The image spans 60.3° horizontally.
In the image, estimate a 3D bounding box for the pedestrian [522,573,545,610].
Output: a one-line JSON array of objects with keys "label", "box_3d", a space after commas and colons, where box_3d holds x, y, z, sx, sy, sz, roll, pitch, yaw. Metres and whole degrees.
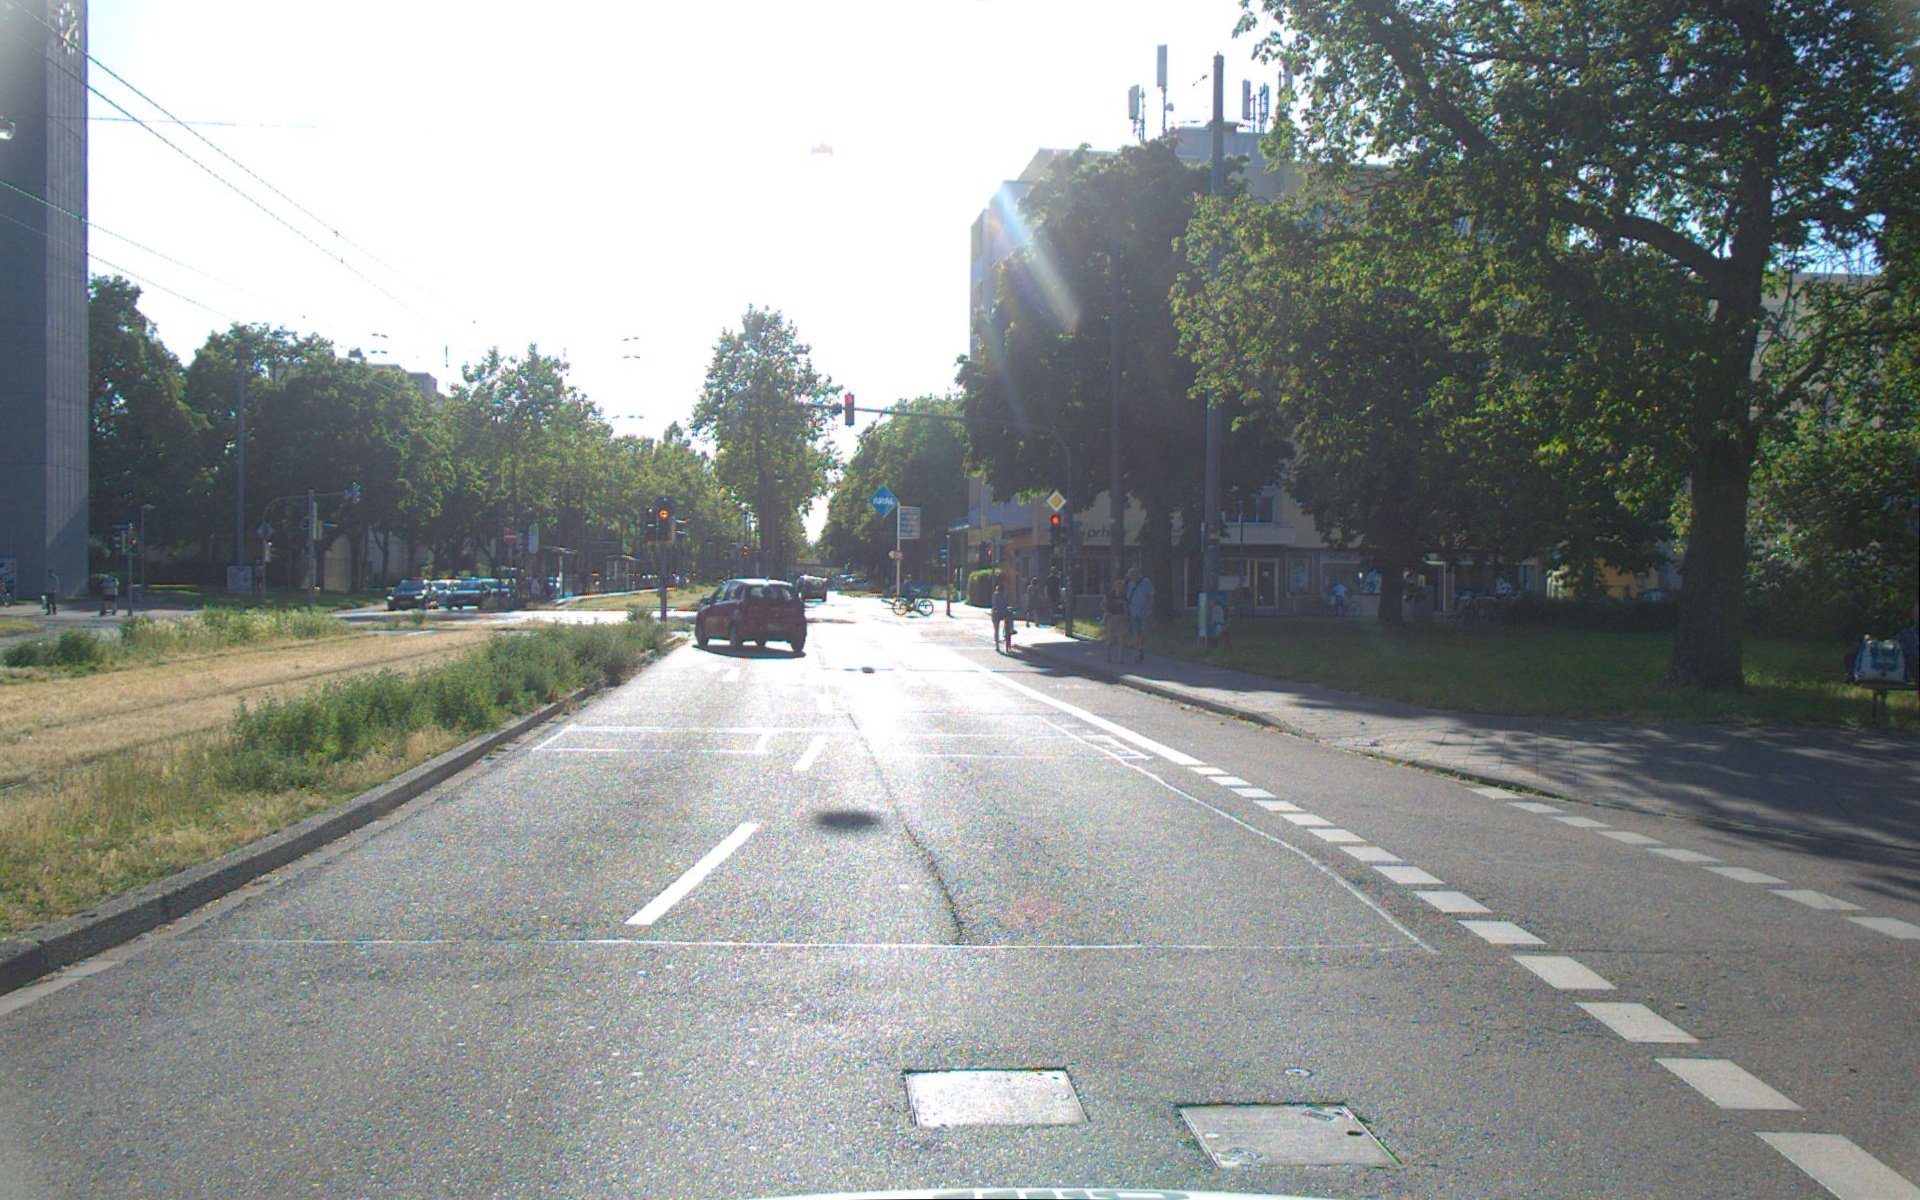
[{"label": "pedestrian", "box_3d": [-19.396, -0.373, 75.276, 0.873, 1.634, 0.613, 2, 0, -6]}]

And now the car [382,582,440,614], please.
[{"label": "car", "box_3d": [-27.024, -0.118, 81.555, 1.772, 1.560, 4.356, 0, 0, -6]}]

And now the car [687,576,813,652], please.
[{"label": "car", "box_3d": [-4.665, 0.280, 36.400, 1.673, 1.534, 3.669, 2, 0, -26]}]

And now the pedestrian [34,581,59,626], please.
[{"label": "pedestrian", "box_3d": [-34.819, 0.137, 63.029, 0.433, 1.695, 0.746, 2, 0, 4]}]

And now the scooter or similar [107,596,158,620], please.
[{"label": "scooter or similar", "box_3d": [-32.223, 0.318, 64.427, 1.710, 0.915, 0.560, 0, 0, -22]}]

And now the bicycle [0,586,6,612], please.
[{"label": "bicycle", "box_3d": [-39.065, -0.037, 66.388, 0.481, 1.064, 1.683, 2, 0, 2]}]

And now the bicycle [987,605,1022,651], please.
[{"label": "bicycle", "box_3d": [1.019, 0.629, 38.033, 0.635, 0.989, 1.802, 2, 0, -3]}]

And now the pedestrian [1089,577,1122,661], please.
[{"label": "pedestrian", "box_3d": [2.725, 0.349, 30.970, 0.518, 1.555, 0.627, -2, 0, 0]}]

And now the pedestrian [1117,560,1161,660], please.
[{"label": "pedestrian", "box_3d": [3.344, 0.182, 30.927, 0.689, 1.820, 0.694, -2, 1, 0]}]

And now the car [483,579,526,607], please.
[{"label": "car", "box_3d": [-24.857, -0.390, 90.371, 1.536, 1.426, 3.910, 2, 0, -6]}]

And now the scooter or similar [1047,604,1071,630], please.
[{"label": "scooter or similar", "box_3d": [3.027, 0.526, 50.571, 0.586, 0.750, 0.680, 2, 0, -7]}]

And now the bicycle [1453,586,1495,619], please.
[{"label": "bicycle", "box_3d": [17.386, 0.081, 55.966, 0.585, 1.052, 2.004, 2, 0, -6]}]

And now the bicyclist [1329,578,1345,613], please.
[{"label": "bicyclist", "box_3d": [17.316, -0.223, 75.962, 0.517, 1.594, 0.463, 2, 0, -8]}]

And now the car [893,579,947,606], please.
[{"label": "car", "box_3d": [-3.061, -0.545, 126.775, 3.903, 1.892, 2.013, 2, 0, 4]}]

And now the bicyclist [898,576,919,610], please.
[{"label": "bicyclist", "box_3d": [-2.325, -0.331, 75.010, 0.752, 1.496, 0.899, -1, 1, 11]}]

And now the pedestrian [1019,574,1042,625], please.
[{"label": "pedestrian", "box_3d": [2.180, -0.008, 51.095, 0.633, 1.549, 0.496, 2, 0, 6]}]

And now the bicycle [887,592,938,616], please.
[{"label": "bicycle", "box_3d": [-2.161, 0.182, 75.013, 2.203, 1.004, 0.790, 1, 5, 9]}]

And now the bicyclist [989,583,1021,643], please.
[{"label": "bicyclist", "box_3d": [1.026, 0.288, 38.108, 0.625, 1.346, 0.802, 2, 0, -4]}]

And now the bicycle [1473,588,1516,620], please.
[{"label": "bicycle", "box_3d": [18.042, 0.132, 55.908, 0.585, 1.052, 1.988, 2, 0, -6]}]

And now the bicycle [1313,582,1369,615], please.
[{"label": "bicycle", "box_3d": [17.644, -0.079, 76.612, 2.423, 1.424, 0.607, 2, 0, -7]}]

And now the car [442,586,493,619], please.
[{"label": "car", "box_3d": [-24.436, 0.106, 82.187, 1.654, 1.560, 4.356, 0, 0, -6]}]

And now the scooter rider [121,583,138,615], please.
[{"label": "scooter rider", "box_3d": [-32.317, -0.035, 64.363, 0.518, 1.239, 0.584, 2, 0, -21]}]

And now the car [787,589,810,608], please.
[{"label": "car", "box_3d": [-14.454, -0.142, 147.836, 1.858, 1.639, 4.493, 2, 0, -7]}]

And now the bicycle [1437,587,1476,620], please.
[{"label": "bicycle", "box_3d": [16.759, 0.111, 55.888, 0.585, 1.052, 1.793, 2, 0, -6]}]

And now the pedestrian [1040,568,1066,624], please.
[{"label": "pedestrian", "box_3d": [2.882, -0.130, 51.153, 0.714, 1.711, 0.533, 2, 0, 6]}]

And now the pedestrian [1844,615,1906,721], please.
[{"label": "pedestrian", "box_3d": [8.752, 0.637, 15.837, 0.395, 0.950, 0.623, 2, 2, 21]}]

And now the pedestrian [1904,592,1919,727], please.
[{"label": "pedestrian", "box_3d": [9.198, 0.557, 15.549, 0.395, 1.247, 0.761, 2, 0, 21]}]

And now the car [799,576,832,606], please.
[{"label": "car", "box_3d": [-9.554, -0.592, 108.981, 1.931, 1.892, 3.994, 2, 0, -7]}]
